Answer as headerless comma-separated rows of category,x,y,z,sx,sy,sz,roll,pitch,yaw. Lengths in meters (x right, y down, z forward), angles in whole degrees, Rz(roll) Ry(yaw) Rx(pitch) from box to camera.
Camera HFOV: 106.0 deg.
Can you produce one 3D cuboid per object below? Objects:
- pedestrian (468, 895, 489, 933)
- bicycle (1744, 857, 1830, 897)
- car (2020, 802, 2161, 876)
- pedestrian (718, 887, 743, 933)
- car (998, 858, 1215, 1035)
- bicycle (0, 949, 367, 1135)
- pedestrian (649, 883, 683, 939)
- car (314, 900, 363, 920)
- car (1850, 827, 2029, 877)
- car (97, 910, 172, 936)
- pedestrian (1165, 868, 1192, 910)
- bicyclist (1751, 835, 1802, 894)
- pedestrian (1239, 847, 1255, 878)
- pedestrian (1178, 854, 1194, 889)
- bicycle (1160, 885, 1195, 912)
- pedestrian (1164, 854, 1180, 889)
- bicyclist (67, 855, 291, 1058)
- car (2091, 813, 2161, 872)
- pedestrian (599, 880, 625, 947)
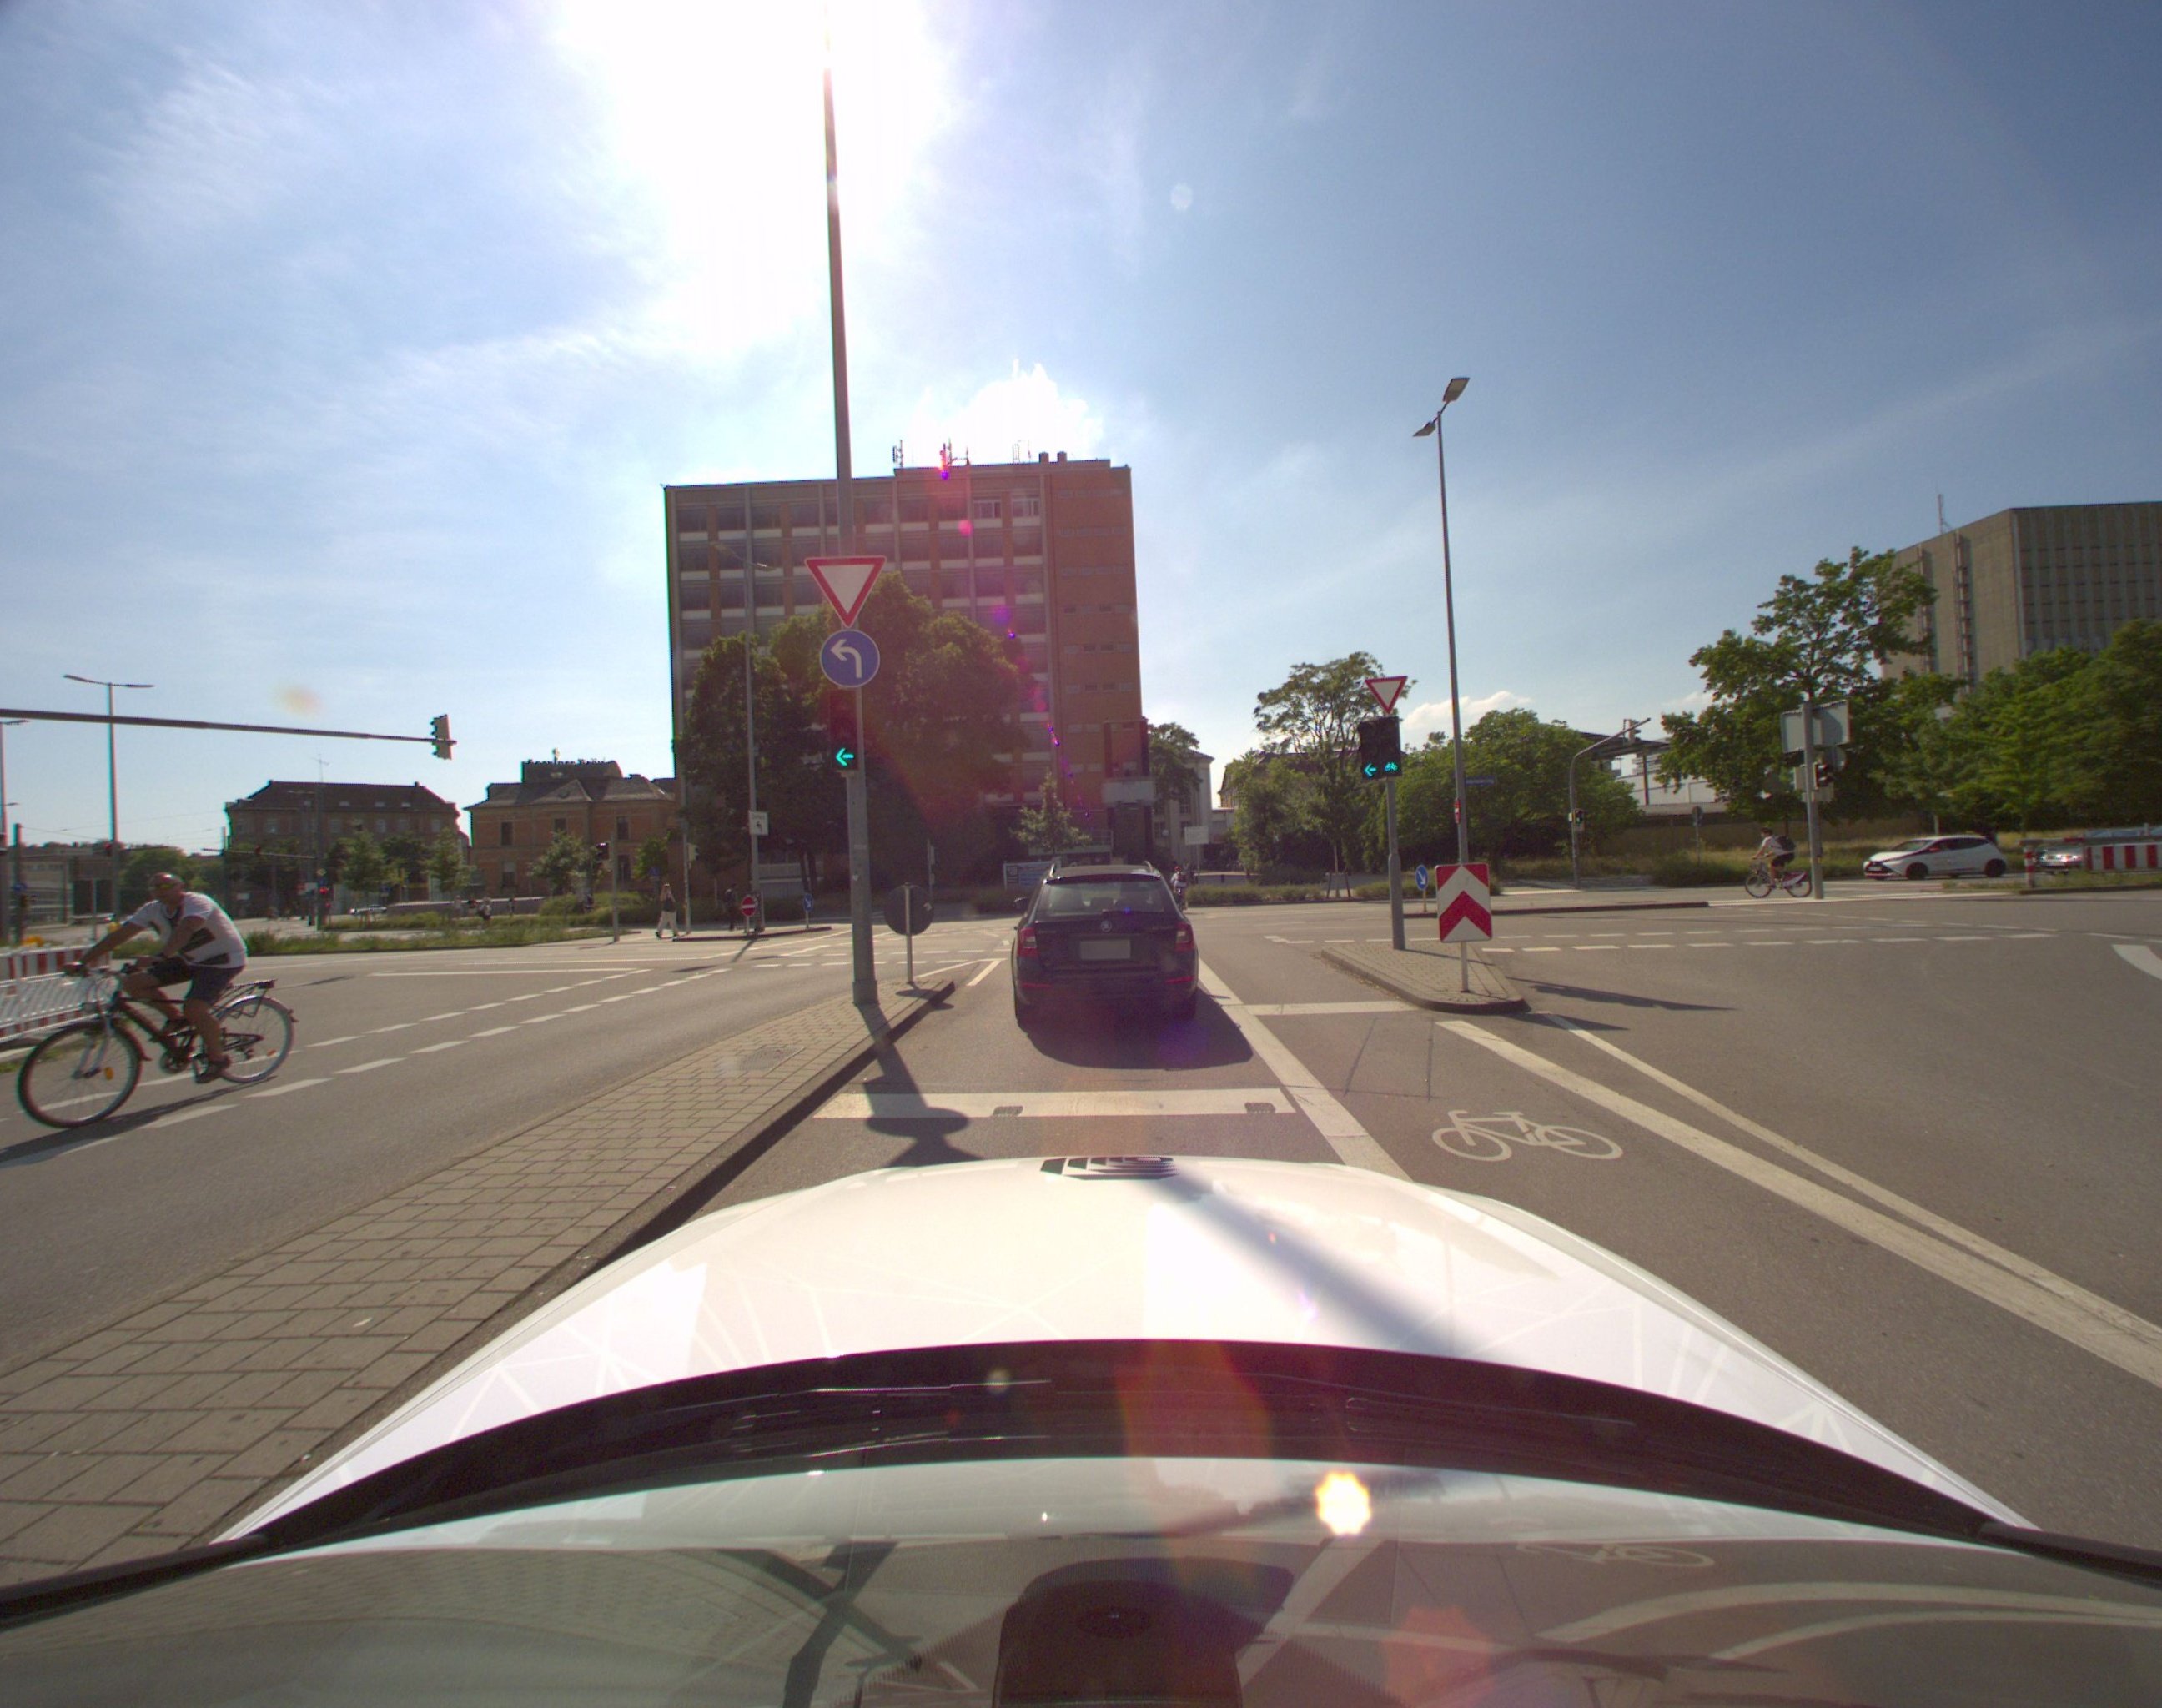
pedestrian,-32.947,3.257,44.532,0.624,2.014,0.522,-3,-1,-3
bicycle,17.859,0.566,20.665,0.668,0.916,2.176,-3,-1,13
car,31.449,-0.468,24.391,3.966,2.014,2.004,-3,-2,7
pedestrian,-12.042,1.923,28.030,0.632,1.491,0.614,-3,-1,-15
car,0.287,0.785,8.679,1.773,1.443,3.820,-1,-1,2
bicycle,-6.892,1.366,6.412,0.702,0.977,2.030,-3,-1,0
pedestrian,-13.771,1.890,27.046,0.737,1.752,1.105,-3,-3,-14
car,-87.242,6.612,95.734,1.986,2.013,4.001,-3,-1,2
car,29.582,-0.039,28.166,3.972,1.464,2.000,-3,-2,1
car,-85.990,6.251,74.080,1.986,2.013,4.001,-3,-1,2
pedestrian,3.491,1.243,29.157,0.584,1.466,1.008,-1,-1,-15
bicyclist,17.994,0.281,21.091,0.491,1.470,1.146,-1,-2,12
pedestrian,10.383,0.546,50.935,0.787,1.874,0.642,-4,0,20
pedestrian,5.687,0.934,44.026,0.634,1.874,0.797,-4,0,1
bicycle,3.446,1.599,29.321,0.597,0.931,2.019,-1,-3,-12
pedestrian,5.011,0.974,44.944,0.591,1.874,0.642,-3,-1,25
bicyclist,-6.946,0.743,6.332,0.537,1.417,1.030,-4,-2,0
car,28.283,-0.380,20.158,4.074,1.406,1.642,-3,-2,7
pedestrian,-14.364,1.810,24.954,0.618,2.014,0.679,1,-2,-36
